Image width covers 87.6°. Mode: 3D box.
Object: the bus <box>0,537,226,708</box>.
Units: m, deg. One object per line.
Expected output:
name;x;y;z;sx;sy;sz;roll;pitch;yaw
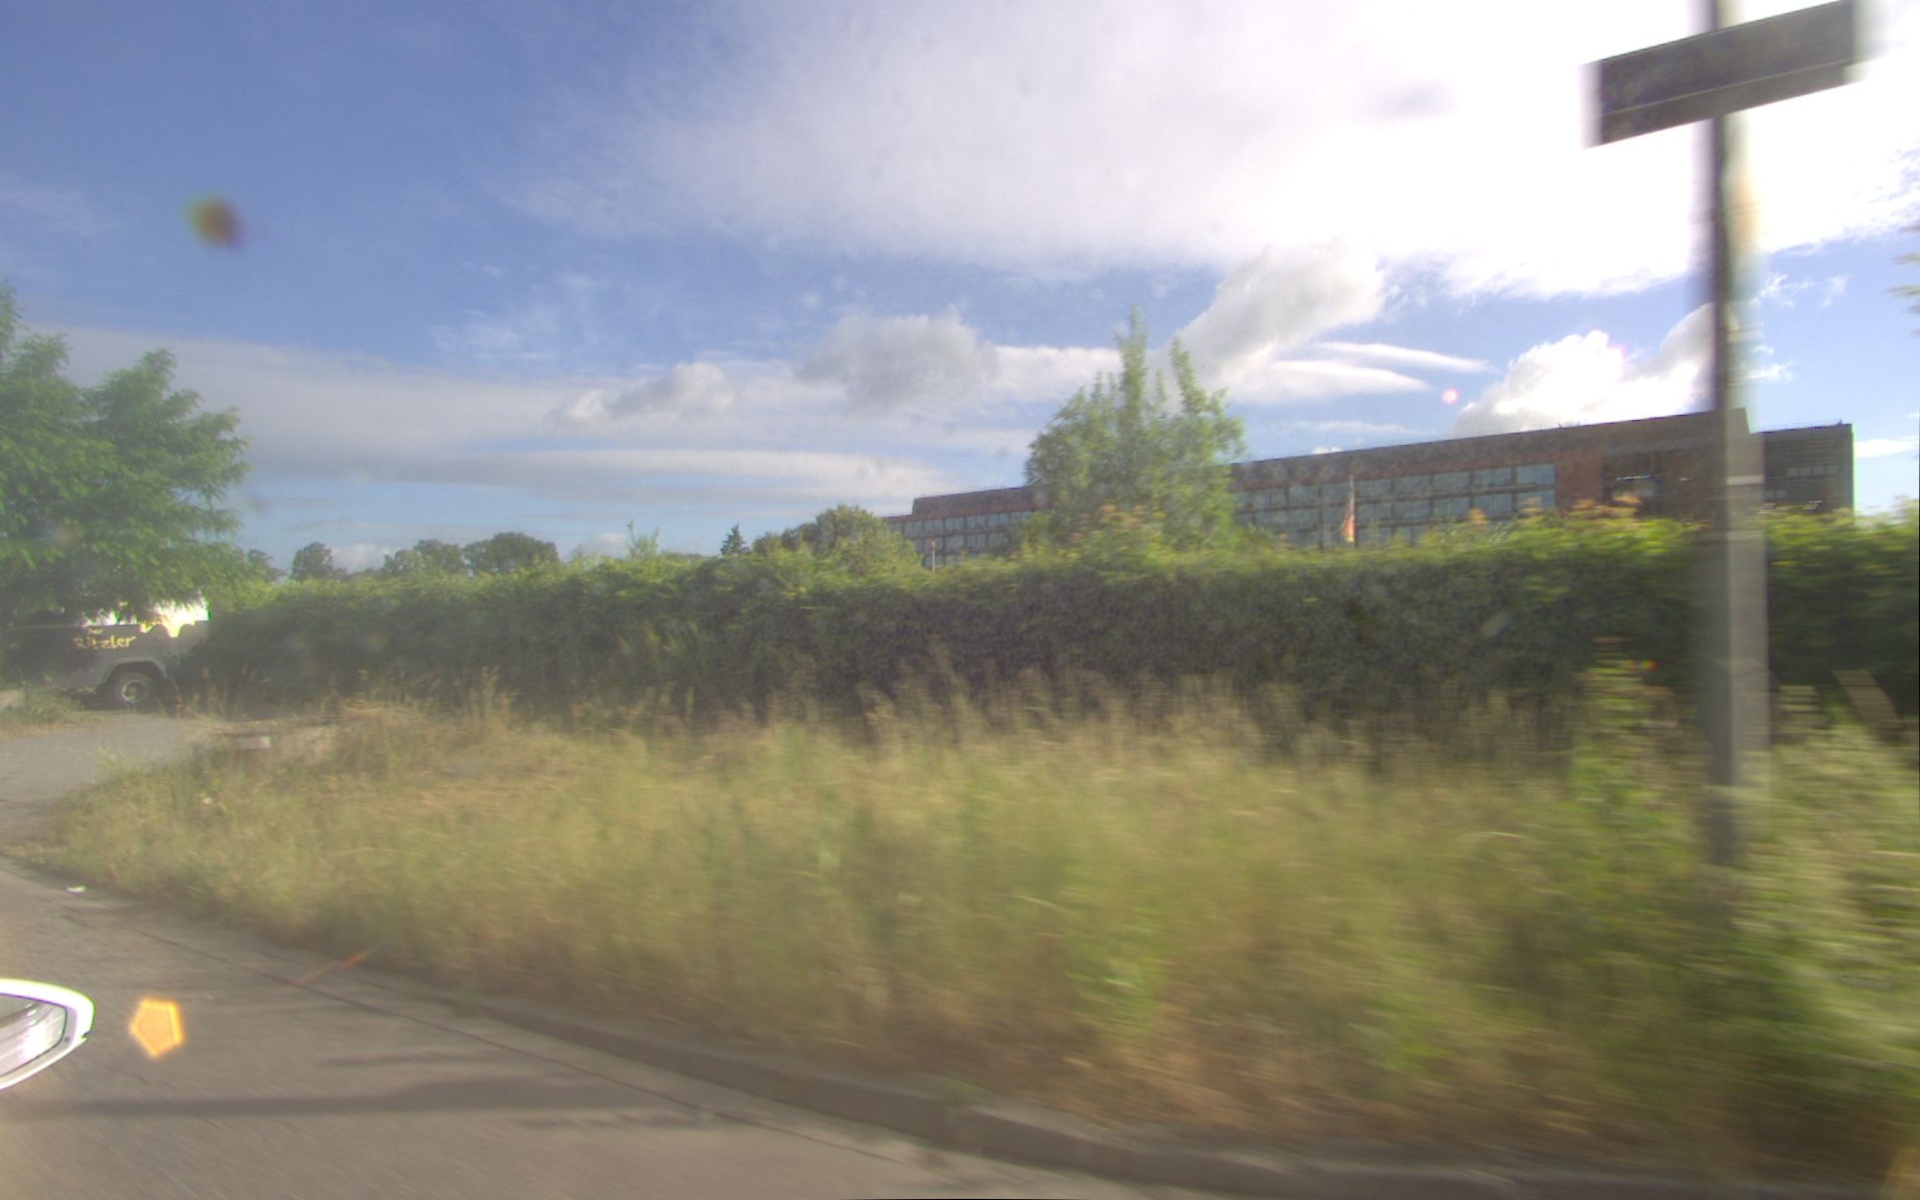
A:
bus;-16.266;0.416;17.359;2.037;2.781;5.362;-1;-3;29
